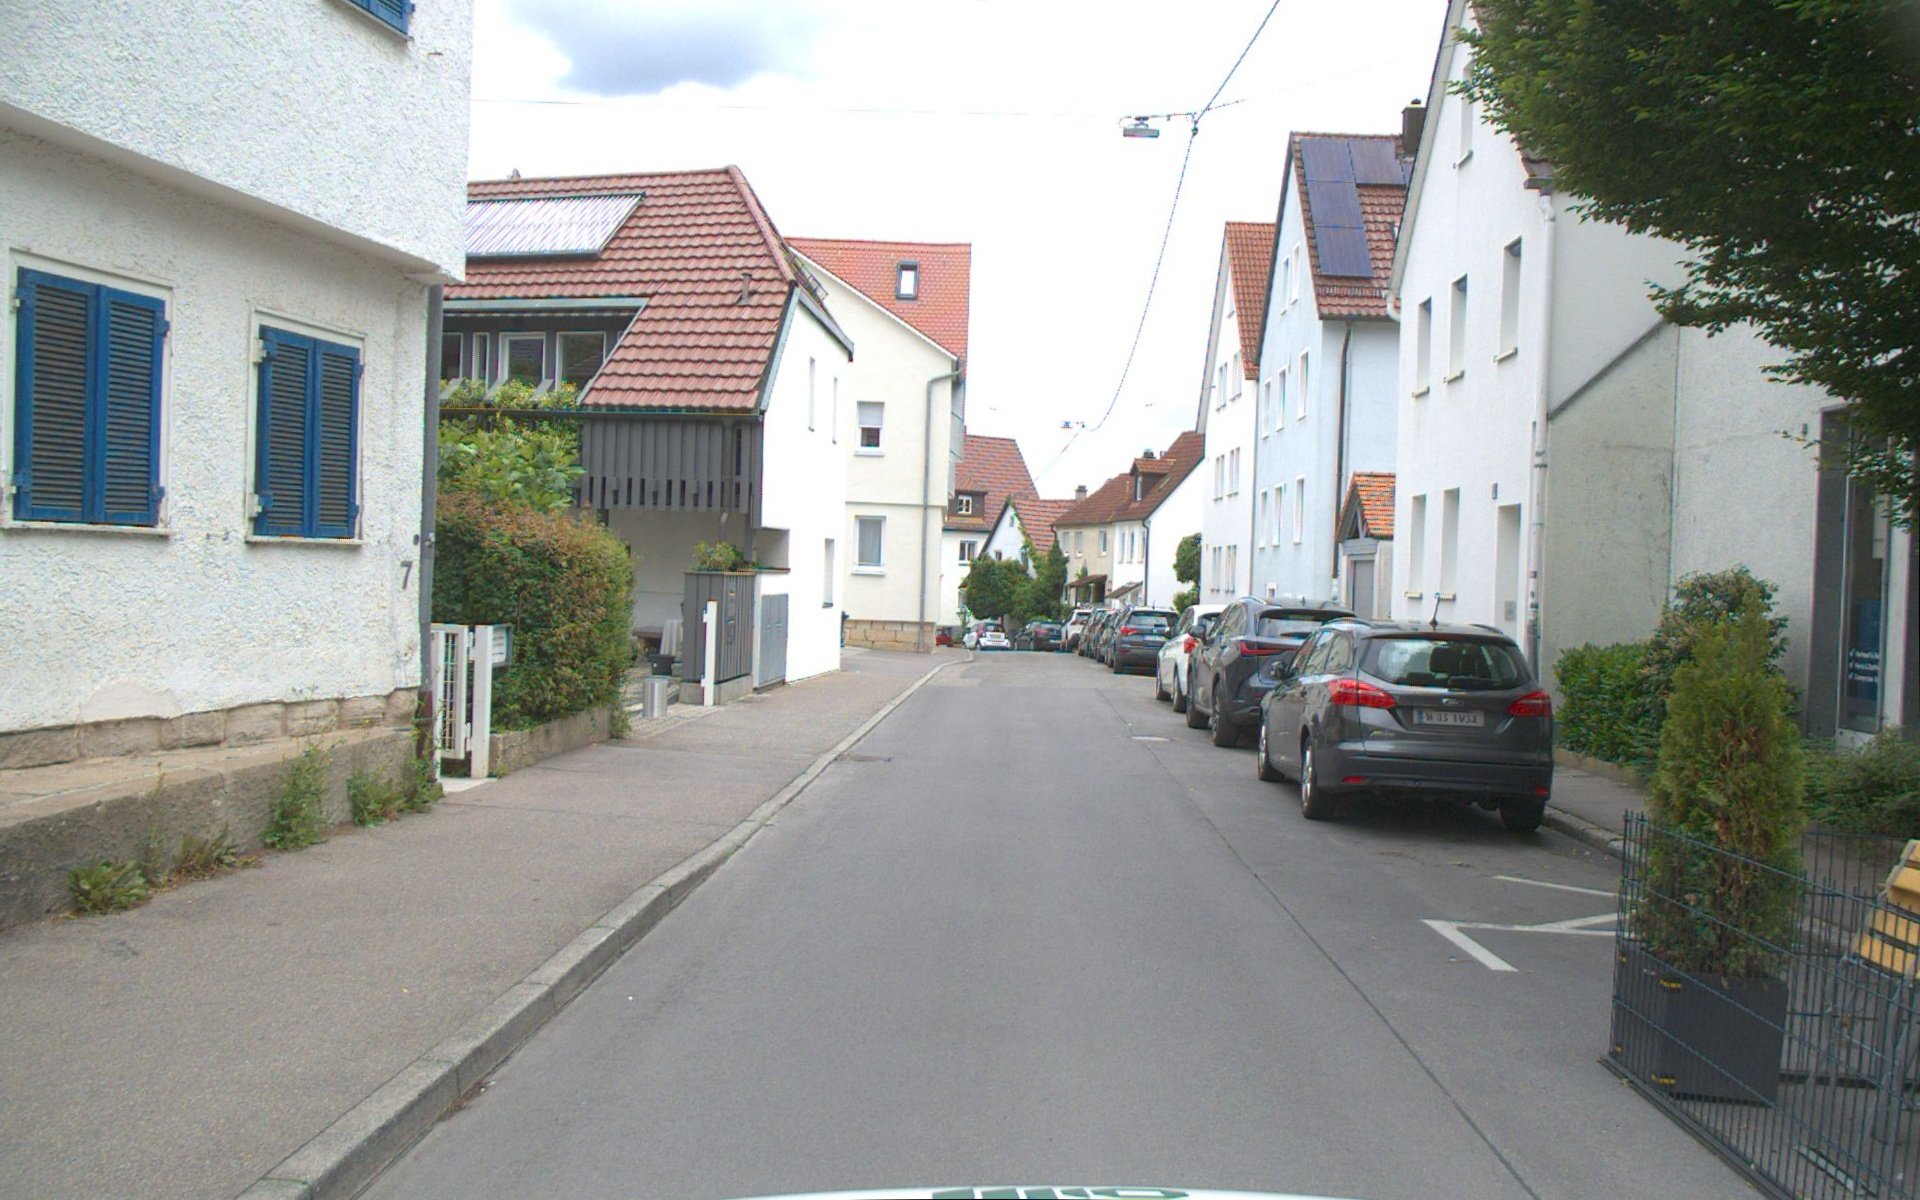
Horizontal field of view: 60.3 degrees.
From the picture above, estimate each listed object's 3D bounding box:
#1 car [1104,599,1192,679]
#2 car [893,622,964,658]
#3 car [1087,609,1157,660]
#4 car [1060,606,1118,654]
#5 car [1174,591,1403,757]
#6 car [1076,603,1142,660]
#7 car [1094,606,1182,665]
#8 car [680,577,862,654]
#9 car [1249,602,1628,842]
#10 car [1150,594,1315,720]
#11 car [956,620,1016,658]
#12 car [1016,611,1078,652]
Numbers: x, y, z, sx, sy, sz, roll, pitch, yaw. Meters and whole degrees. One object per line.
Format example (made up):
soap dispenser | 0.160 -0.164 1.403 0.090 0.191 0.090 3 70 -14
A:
car | 4.328 0.859 38.672 1.717 1.656 4.536 3 0 3
car | -1.736 2.174 89.310 1.975 1.713 3.955 -4 -1 -32
car | 4.730 1.037 48.733 1.759 1.376 4.075 2 -1 2
car | 4.952 1.171 63.985 1.835 1.743 4.146 2 -1 -1
car | 3.727 0.774 19.616 1.824 1.662 4.902 2 0 2
car | 4.821 1.026 53.954 1.701 1.638 3.999 5 -1 0
car | 4.615 0.907 43.392 1.879 1.434 4.656 0 -1 1
car | -4.298 0.379 38.039 3.653 1.436 2.121 5 -1 6
car | 3.659 0.827 13.630 1.907 1.534 4.822 2 0 3
car | 4.079 0.791 25.495 1.952 1.643 4.881 3 0 3
car | 1.297 1.953 83.889 1.930 1.743 3.983 2 0 -16
car | 3.889 1.462 74.777 1.957 1.743 3.990 1 -3 -10
